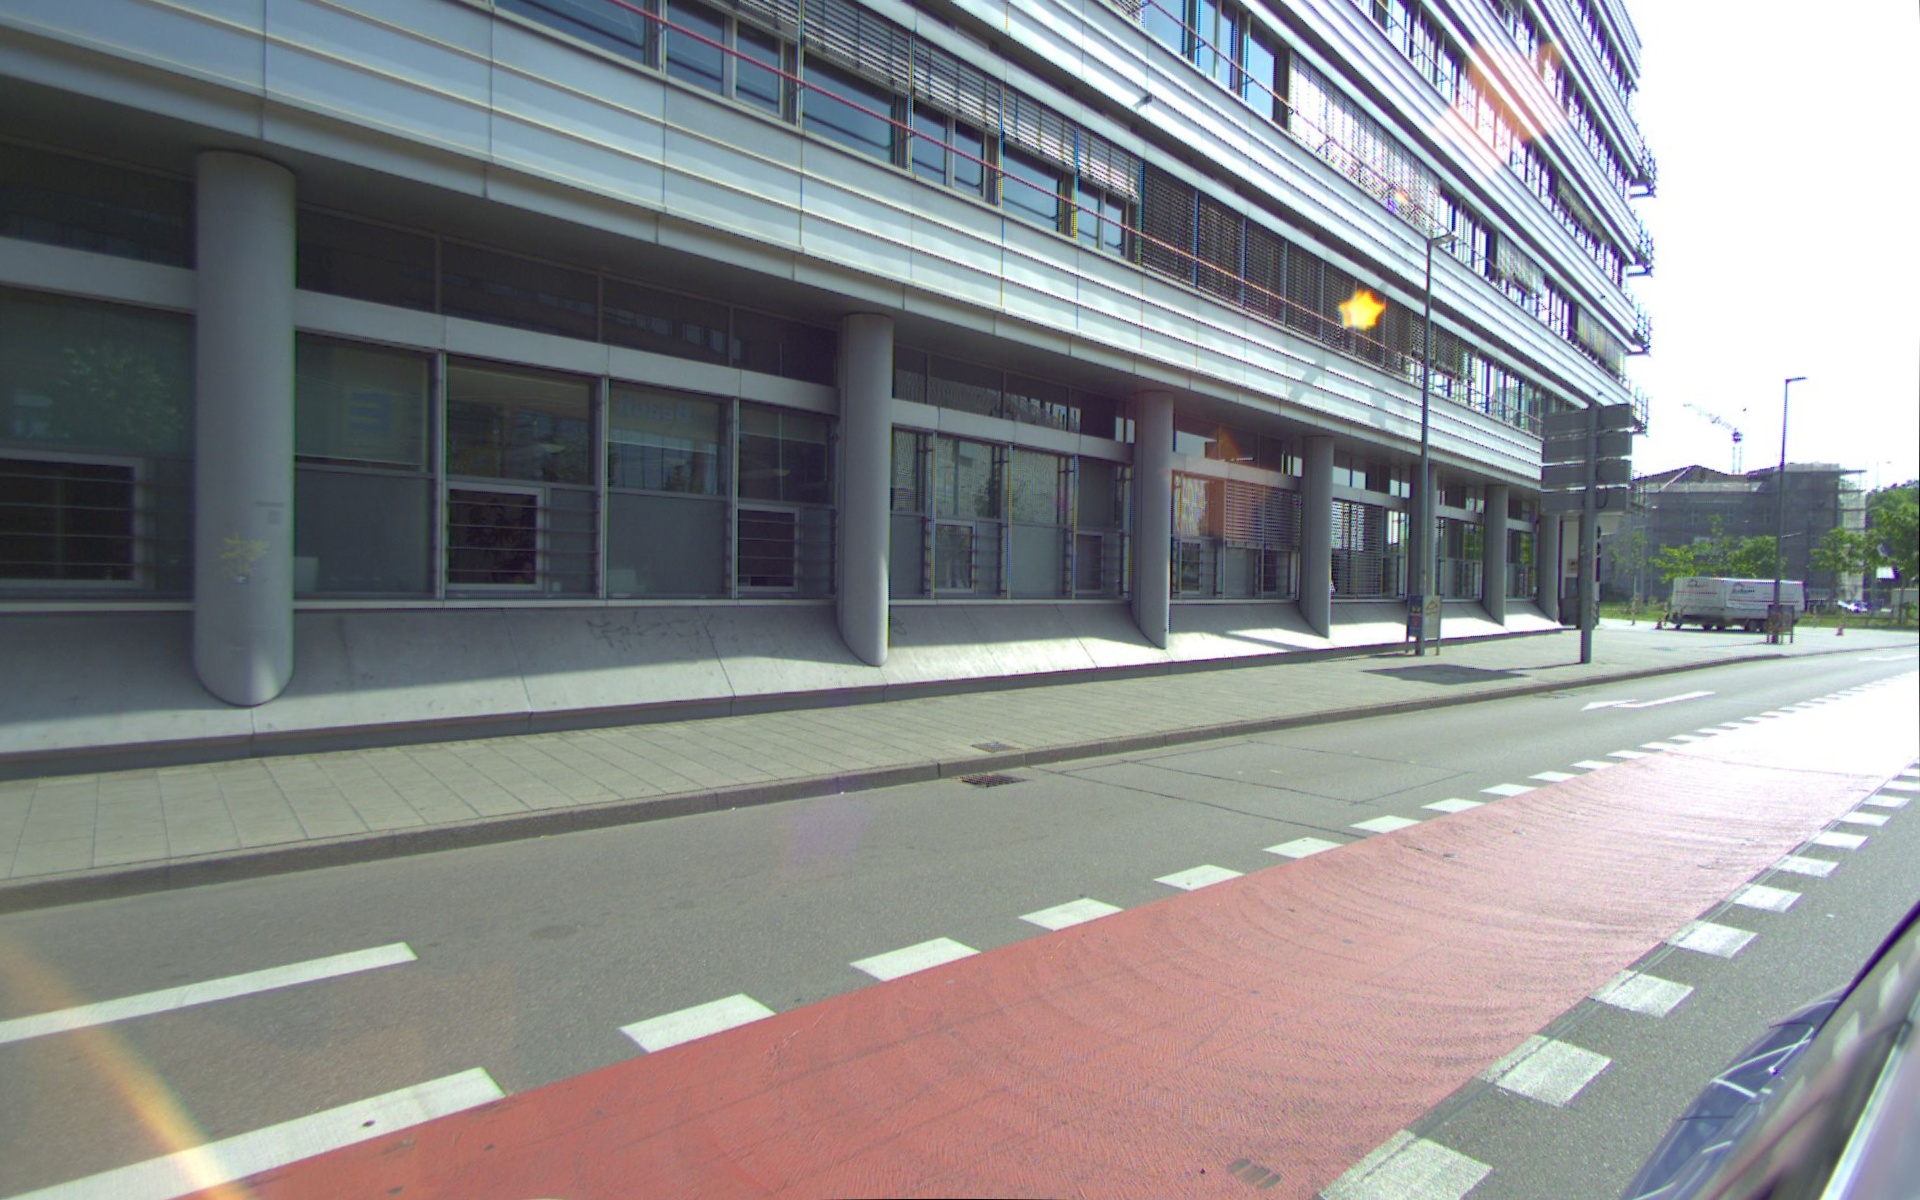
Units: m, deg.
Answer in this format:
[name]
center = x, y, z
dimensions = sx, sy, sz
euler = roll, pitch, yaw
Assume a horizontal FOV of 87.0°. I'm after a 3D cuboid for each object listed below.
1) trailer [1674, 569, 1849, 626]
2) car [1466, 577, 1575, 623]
[trailer]
center = 32.471, -0.107, 41.052
dimensions = 5.824, 2.178, 2.402
euler = 1, 1, -13
[car]
center = 20.990, 0.000, 37.886
dimensions = 3.919, 1.609, 1.752
euler = 1, 1, -30
